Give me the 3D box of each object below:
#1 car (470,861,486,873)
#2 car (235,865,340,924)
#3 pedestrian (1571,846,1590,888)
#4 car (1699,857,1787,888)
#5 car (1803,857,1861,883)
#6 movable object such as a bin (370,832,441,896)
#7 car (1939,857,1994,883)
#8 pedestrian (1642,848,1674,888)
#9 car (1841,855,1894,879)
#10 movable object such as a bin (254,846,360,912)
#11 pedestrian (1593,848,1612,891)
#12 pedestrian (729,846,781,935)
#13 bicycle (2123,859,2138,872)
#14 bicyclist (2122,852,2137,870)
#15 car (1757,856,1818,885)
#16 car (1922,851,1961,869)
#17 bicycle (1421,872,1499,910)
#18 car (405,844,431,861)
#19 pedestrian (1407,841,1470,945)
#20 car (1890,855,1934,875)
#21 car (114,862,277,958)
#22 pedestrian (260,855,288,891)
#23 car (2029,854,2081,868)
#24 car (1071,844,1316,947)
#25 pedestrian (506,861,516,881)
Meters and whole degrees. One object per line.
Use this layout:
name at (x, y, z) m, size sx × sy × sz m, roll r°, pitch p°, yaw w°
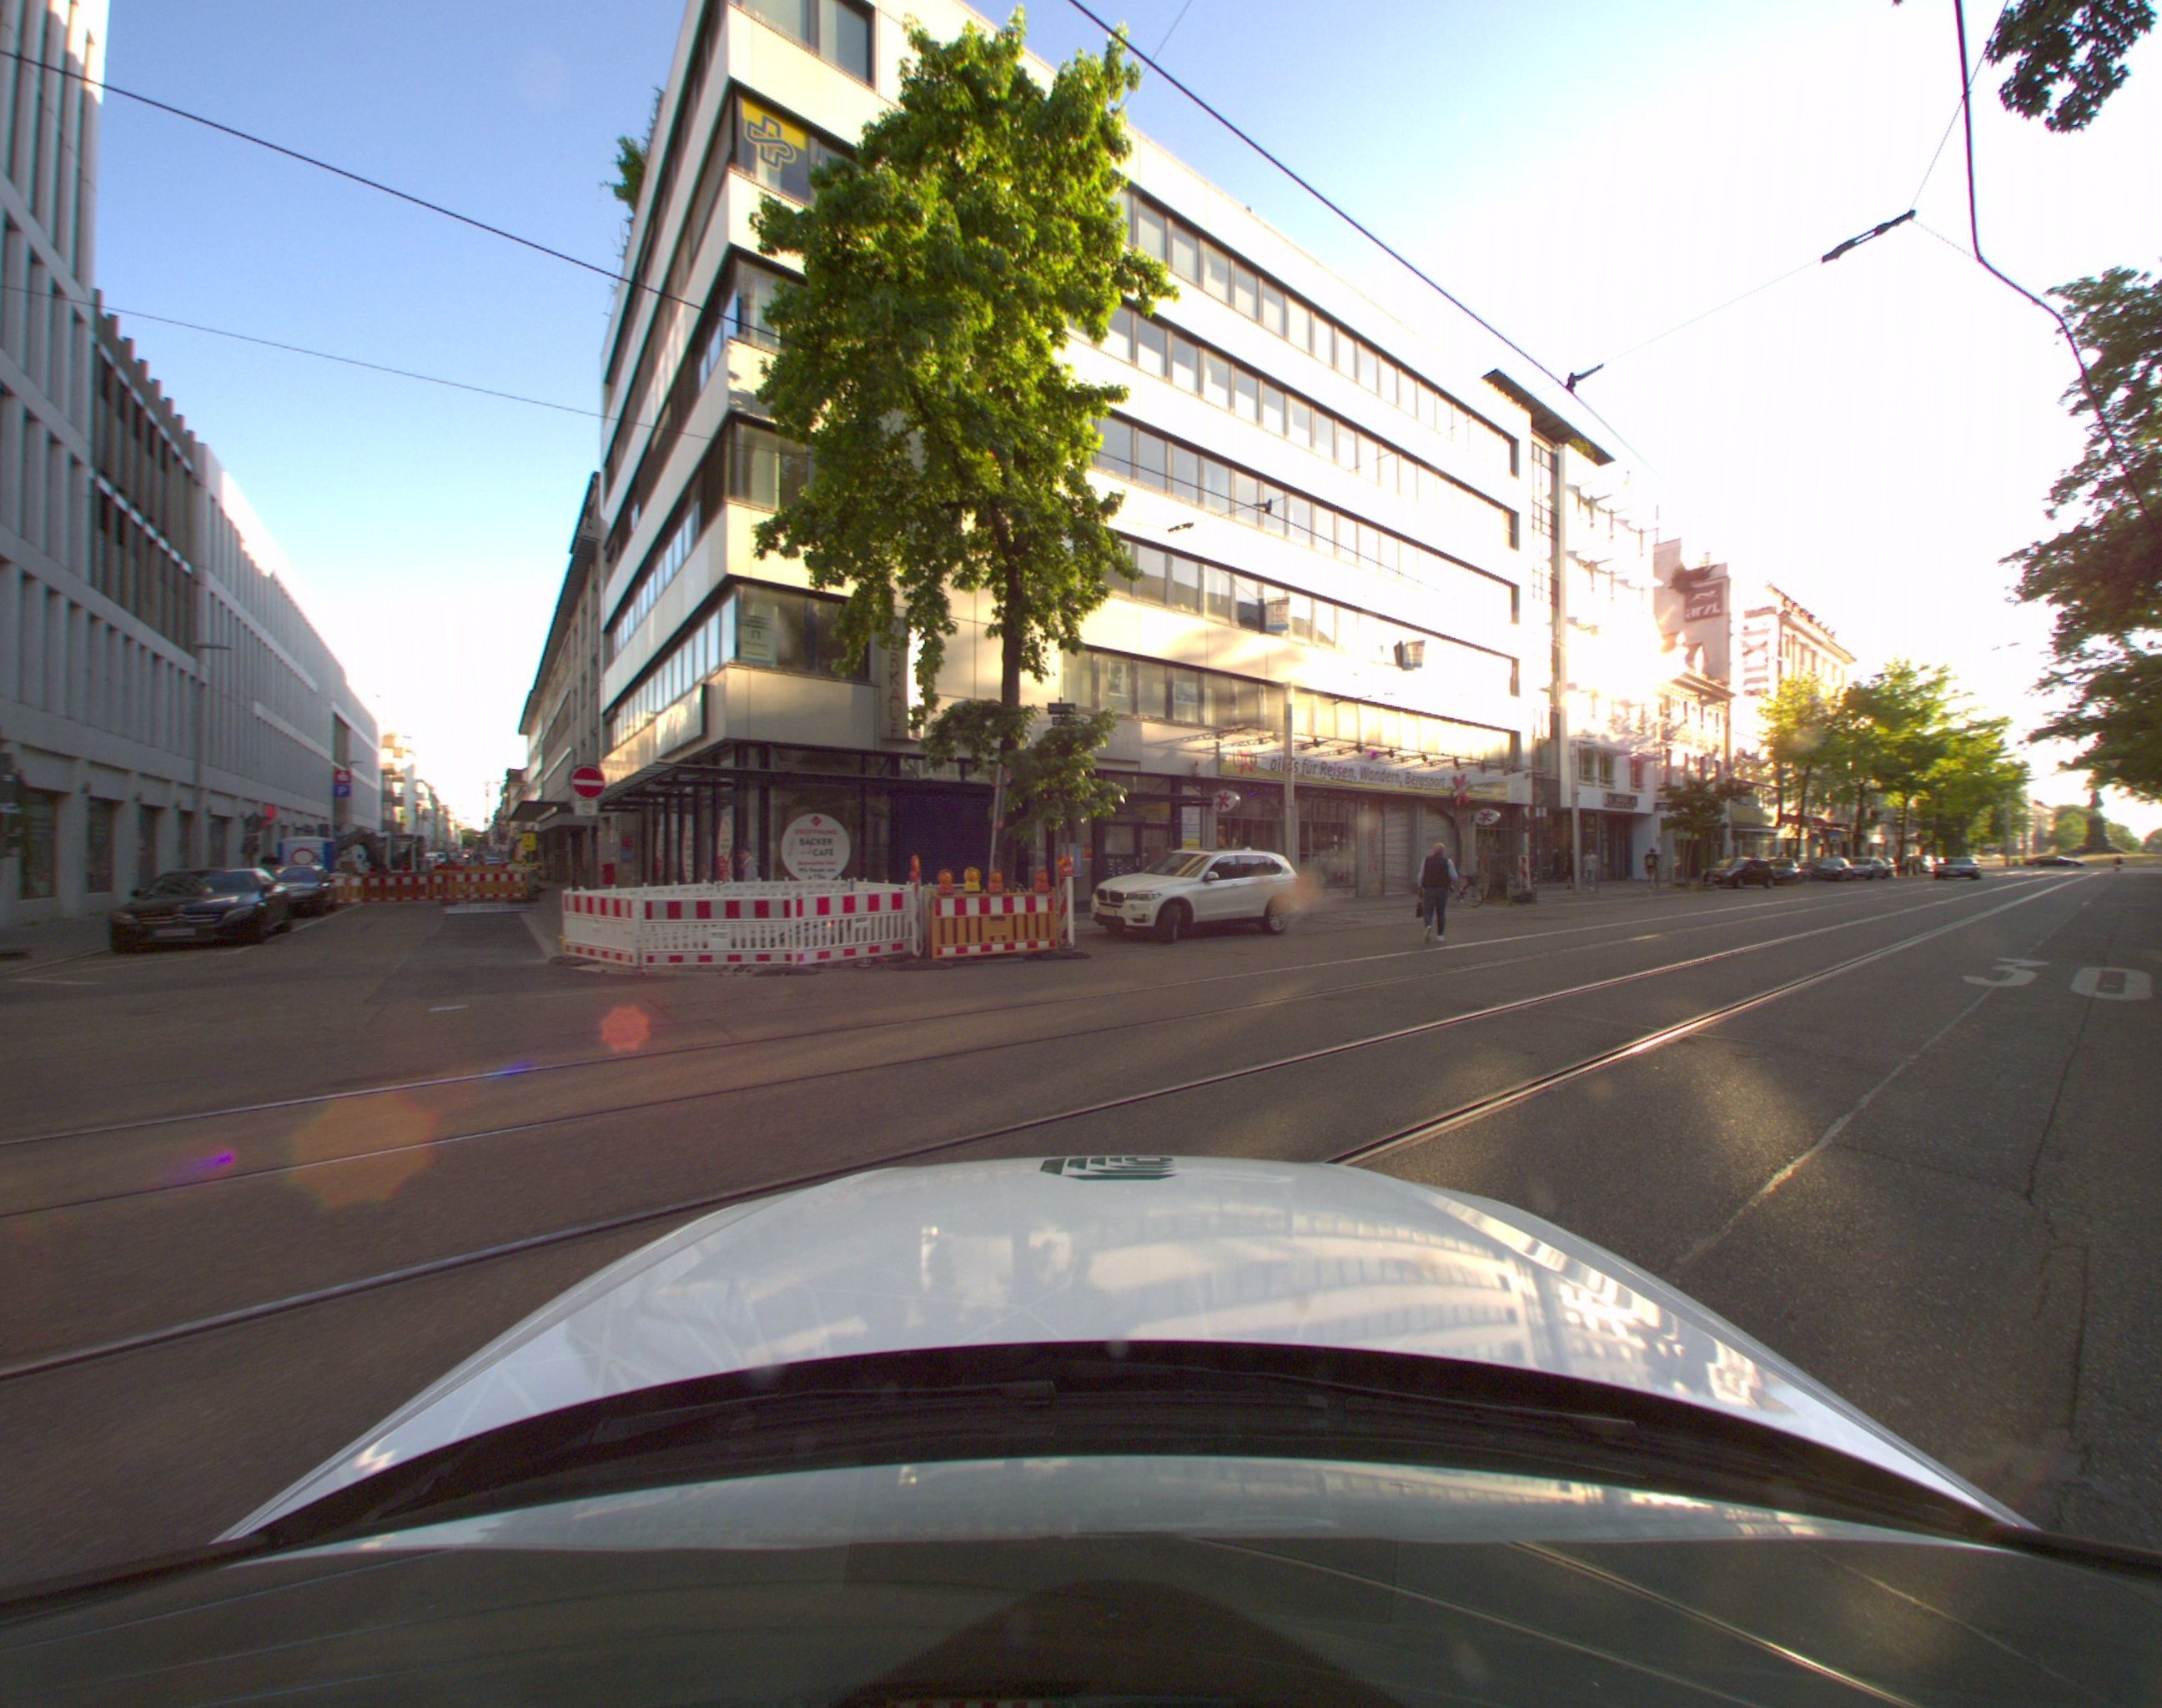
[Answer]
car at (-95.054, 1.976, 128.409) m, size 2.009 × 1.776 × 3.956 m, roll -1°, pitch 0°, yaw -36°
car at (-21.780, 1.042, 22.461) m, size 1.805 × 1.451 × 3.106 m, roll -1°, pitch 0°, yaw -40°
pedestrian at (21.586, 0.545, 35.162) m, size 0.620 × 1.776 × 0.821 m, roll -1°, pitch 0°, yaw 36°
car at (31.807, 0.880, 39.148) m, size 3.663 × 1.386 × 1.716 m, roll 1°, pitch 1°, yaw -22°
car at (45.806, 0.940, 49.666) m, size 3.744 × 1.465 × 1.813 m, roll 1°, pitch 1°, yaw -35°
movable object such as a bin at (-29.960, 0.432, 36.262) m, size 2.173 × 2.664 × 4.522 m, roll 0°, pitch -1°, yaw -36°
car at (54.872, 0.995, 50.450) m, size 3.893 × 1.561 × 1.885 m, roll 0°, pitch -2°, yaw -37°
pedestrian at (26.326, 0.639, 37.144) m, size 0.974 × 1.776 × 0.799 m, roll -1°, pitch 0°, yaw -25°
car at (51.567, 0.855, 53.396) m, size 3.744 × 1.465 × 1.813 m, roll 1°, pitch 1°, yaw -35°
movable object such as a bin at (-25.597, 0.771, 27.068) m, size 2.009 × 2.013 × 3.956 m, roll -1°, pitch 0°, yaw -36°
pedestrian at (22.154, 0.640, 34.620) m, size 0.620 × 1.776 × 0.821 m, roll -1°, pitch 0°, yaw 36°
pedestrian at (-5.839, 0.631, 14.592) m, size 0.711 × 1.549 × 0.572 m, roll -1°, pitch 0°, yaw -39°
bicycle at (90.303, 1.020, 70.078) m, size 2.250 × 1.027 × 0.710 m, roll -1°, pitch -4°, yaw -37°
bicyclist at (90.244, 0.616, 70.078) m, size 0.937 × 1.473 × 0.700 m, roll 0°, pitch -4°, yaw -36°
car at (38.082, 0.865, 43.887) m, size 3.746 × 1.465 × 1.812 m, roll 1°, pitch 1°, yaw -38°
car at (76.169, 0.517, 72.058) m, size 3.744 × 1.465 × 1.813 m, roll 1°, pitch 1°, yaw -35°
bicycle at (11.353, 1.078, 24.439) m, size 0.673 × 0.952 × 2.004 m, roll -1°, pitch 3°, yaw -38°
car at (-73.177, -0.173, 89.912) m, size 2.009 × 1.776 × 3.956 m, roll -1°, pitch 0°, yaw -36°
pedestrian at (6.355, 0.664, 14.525) m, size 0.797 × 1.776 × 1.076 m, roll -1°, pitch 0°, yaw 12°
car at (64.858, 0.835, 63.527) m, size 3.744 × 1.465 × 1.813 m, roll 1°, pitch 1°, yaw -35°
car at (-16.407, 0.943, 15.246) m, size 1.643 × 1.550 × 3.105 m, roll -1°, pitch 0°, yaw -40°
pedestrian at (-33.597, 0.780, 33.898) m, size 0.721 × 1.464 × 0.520 m, roll -1°, pitch 0°, yaw -34°
car at (118.875, 0.797, 99.484) m, size 1.923 × 1.684 × 3.951 m, roll 0°, pitch 0°, yaw -44°
car at (2.401, 0.741, 16.678) m, size 4.968 × 1.775 × 2.000 m, roll 1°, pitch 1°, yaw -37°
pedestrian at (-42.089, 1.217, 60.107) m, size 0.527 × 1.464 × 0.712 m, roll 0°, pitch -1°, yaw -28°
